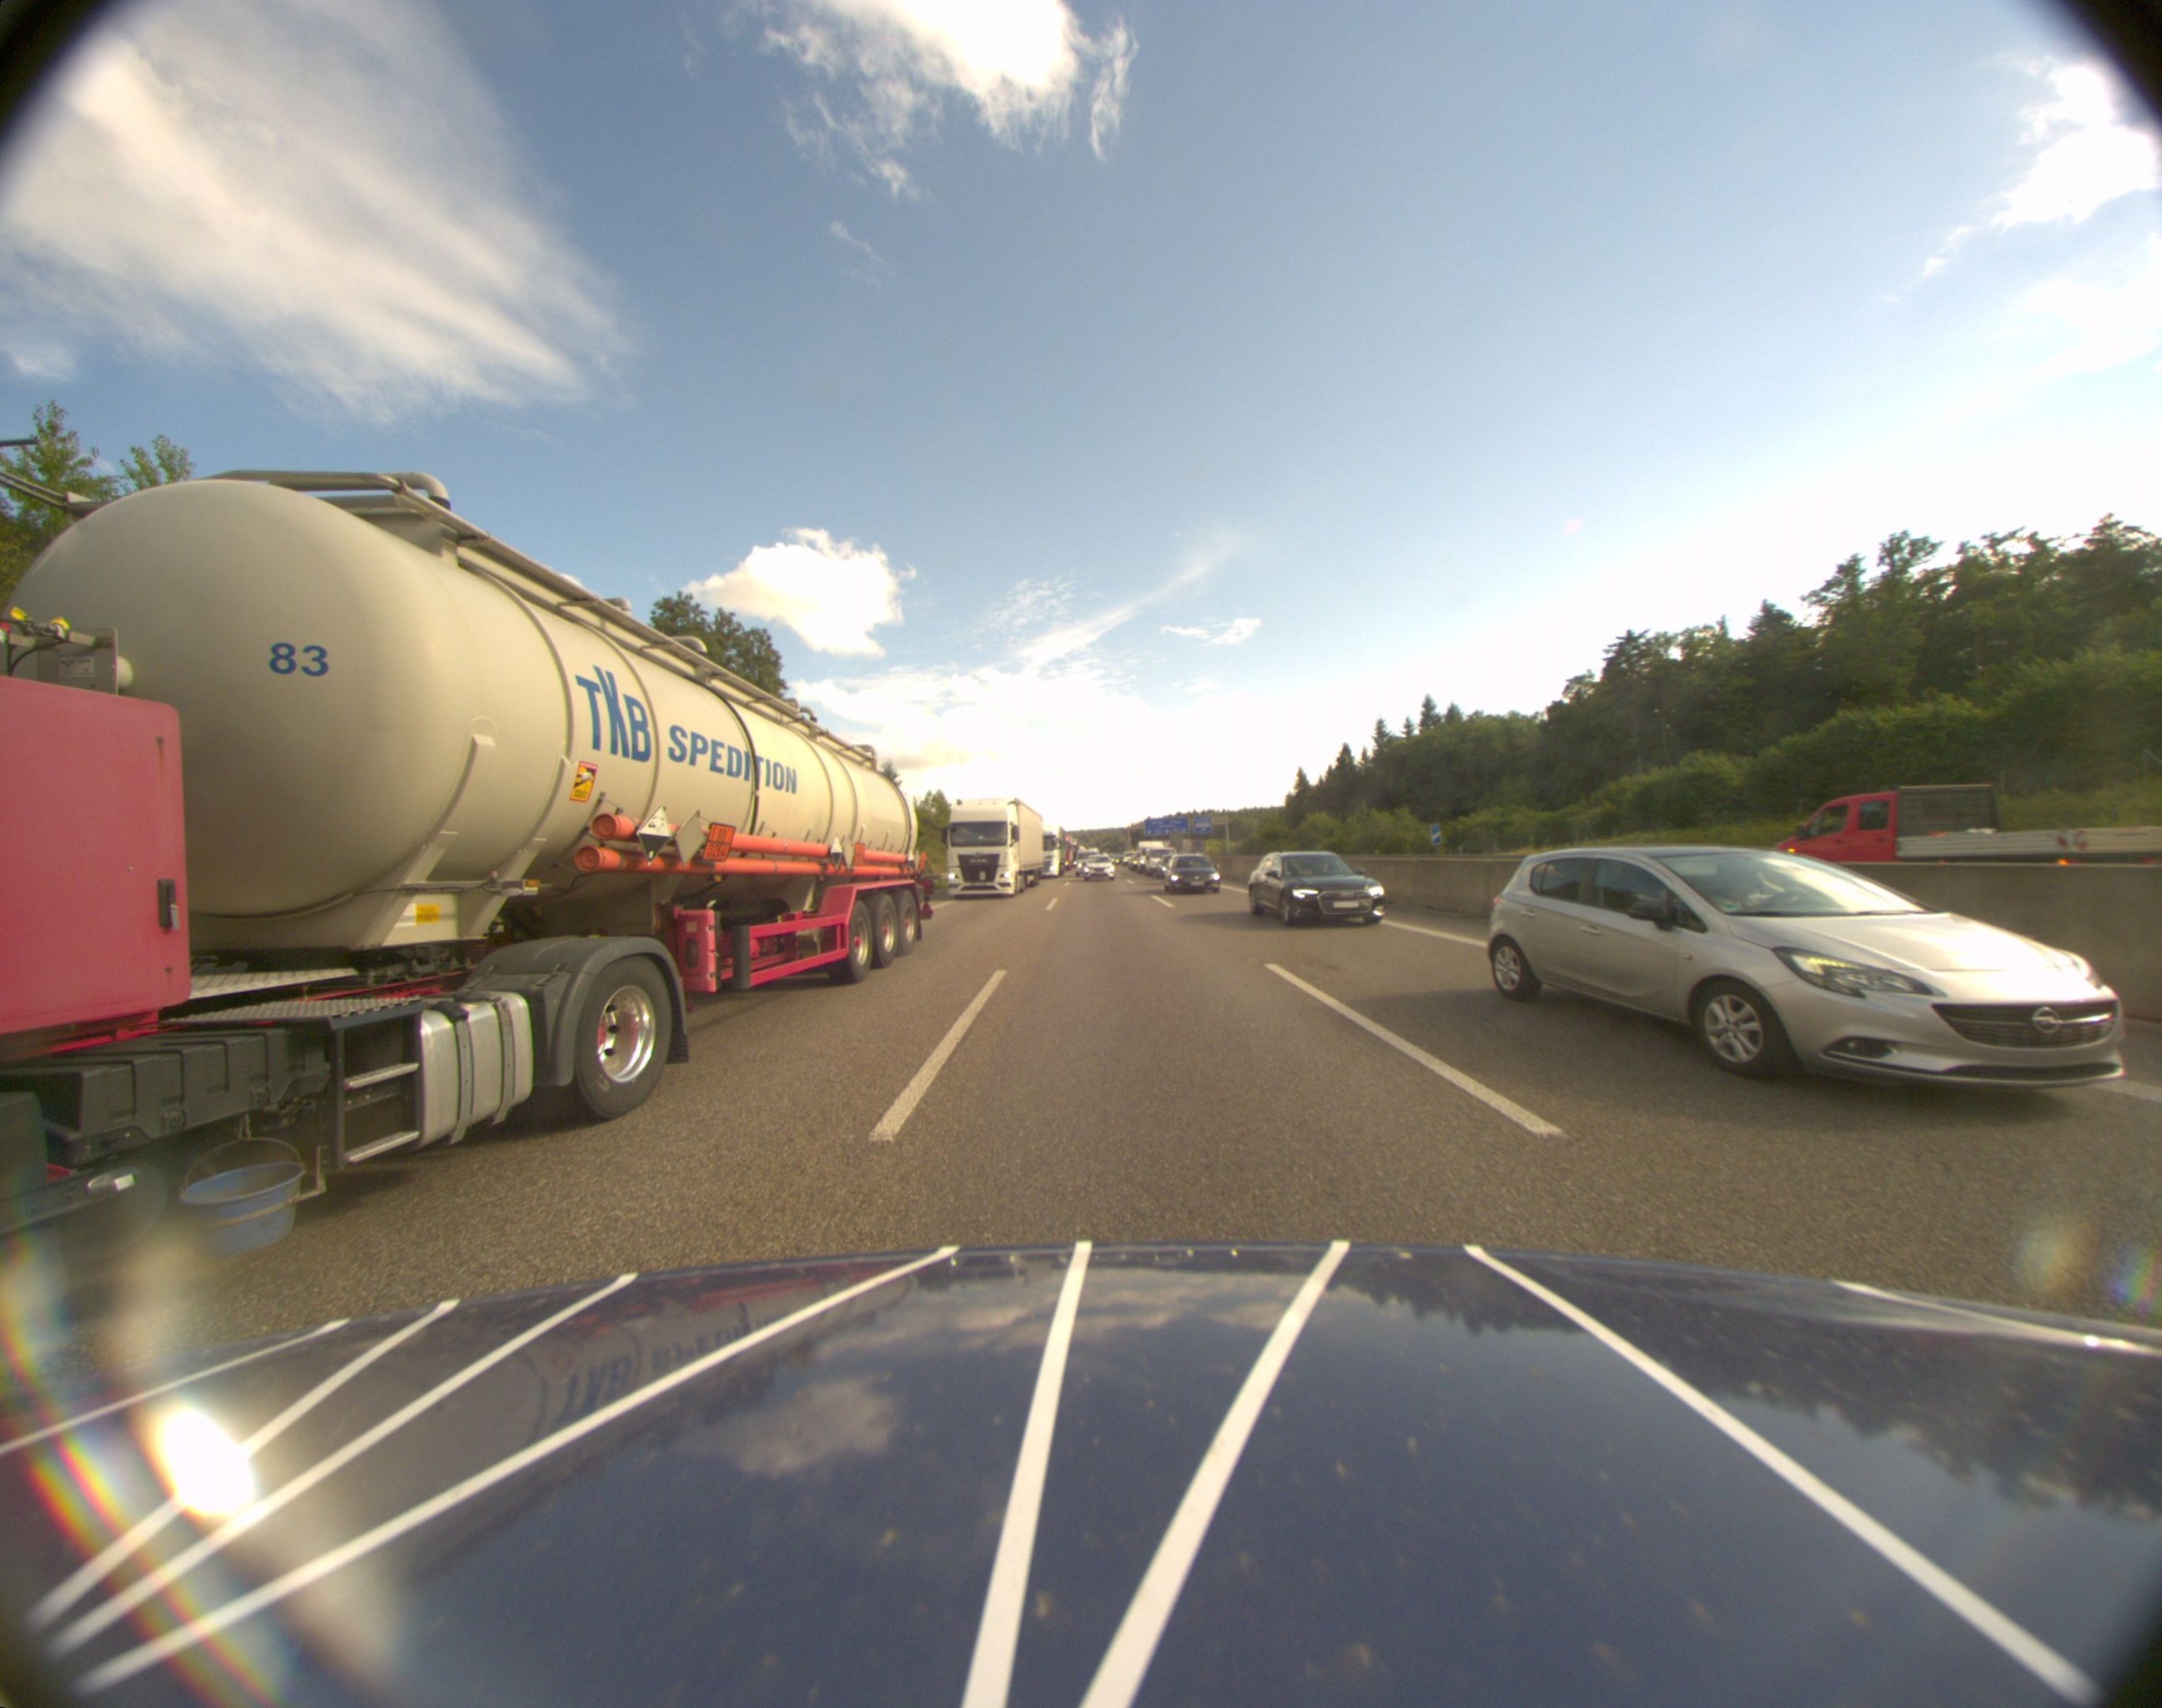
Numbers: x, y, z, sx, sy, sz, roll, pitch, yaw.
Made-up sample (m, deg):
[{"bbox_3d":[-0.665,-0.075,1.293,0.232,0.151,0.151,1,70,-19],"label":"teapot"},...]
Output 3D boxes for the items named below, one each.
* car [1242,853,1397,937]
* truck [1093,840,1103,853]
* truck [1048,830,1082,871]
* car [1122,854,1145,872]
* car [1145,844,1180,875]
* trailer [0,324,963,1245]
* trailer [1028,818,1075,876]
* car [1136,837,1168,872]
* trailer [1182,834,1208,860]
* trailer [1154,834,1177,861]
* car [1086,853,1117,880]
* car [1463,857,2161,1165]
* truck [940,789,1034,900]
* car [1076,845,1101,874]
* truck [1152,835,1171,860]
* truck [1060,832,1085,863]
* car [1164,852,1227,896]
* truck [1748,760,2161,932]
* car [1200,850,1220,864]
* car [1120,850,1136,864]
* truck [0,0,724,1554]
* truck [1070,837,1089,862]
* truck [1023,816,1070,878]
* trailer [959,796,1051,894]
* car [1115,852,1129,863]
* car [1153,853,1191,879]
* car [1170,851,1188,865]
[{"bbox_3d":[4.892,0.750,16.362,1.887,1.463,4.852,-2,0,2],"label":"car"},{"bbox_3d":[5.791,-2.655,253.150,2.840,4.178,12.045,-2,1,3],"label":"truck"},{"bbox_3d":[-1.666,-0.419,85.479,2.840,4.178,12.045,-2,1,3],"label":"truck"},{"bbox_3d":[4.529,0.747,66.100,1.809,1.423,3.660,-2,0,1],"label":"car"},{"bbox_3d":[5.556,0.377,52.240,1.947,1.953,4.848,-2,0,1],"label":"car"},{"bbox_3d":[-3.881,-0.301,8.957,2.805,4.003,11.182,-2,0,2],"label":"trailer"},{"bbox_3d":[-2.227,-0.558,62.784,2.841,4.177,13.613,-2,0,1],"label":"trailer"},{"bbox_3d":[5.564,0.024,60.397,2.054,2.557,5.861,-1,0,1],"label":"car"},{"bbox_3d":[22.058,-1.353,147.965,2.934,4.802,14.651,-2,1,0],"label":"trailer"},{"bbox_3d":[17.086,-1.366,154.657,3.096,5.044,13.832,-2,1,0],"label":"trailer"},{"bbox_3d":[1.244,0.734,47.000,1.809,1.488,4.666,-1,0,1],"label":"car"},{"bbox_3d":[4.770,0.782,5.741,1.751,1.457,4.041,-1,0,1],"label":"car"},{"bbox_3d":[-3.673,-0.357,31.071,2.841,4.048,5.707,-2,1,2],"label":"truck"},{"bbox_3d":[0.593,0.409,58.386,1.809,2.052,4.770,-2,0,1],"label":"car"},{"bbox_3d":[17.098,-1.478,161.070,3.096,5.072,7.140,-2,1,0],"label":"truck"},{"bbox_3d":[-1.140,-0.970,109.783,2.840,4.178,12.045,-2,1,3],"label":"truck"},{"bbox_3d":[4.314,0.710,29.287,1.915,1.469,4.569,-2,0,3],"label":"car"},{"bbox_3d":[18.095,-0.167,15.996,2.429,2.838,6.430,-2,0,0],"label":"truck"},{"bbox_3d":[17.397,0.431,102.856,1.857,1.799,4.624,-2,0,0],"label":"car"},{"bbox_3d":[6.159,0.361,100.082,1.920,1.785,3.811,-2,0,1],"label":"car"},{"bbox_3d":[-4.090,-0.258,2.462,2.809,4.020,5.904,-2,1,2],"label":"truck"},{"bbox_3d":[-0.168,-0.911,138.102,2.840,4.178,12.045,-2,1,3],"label":"truck"},{"bbox_3d":[-2.414,-0.521,55.457,2.841,4.177,5.707,-2,0,1],"label":"truck"},{"bbox_3d":[-3.457,-0.410,38.730,2.833,4.047,13.372,-2,0,2],"label":"trailer"},{"bbox_3d":[6.299,0.567,116.441,1.920,1.535,3.811,-2,0,1],"label":"car"},{"bbox_3d":[5.388,0.675,45.445,1.809,1.423,3.994,-2,0,1],"label":"car"},{"bbox_3d":[13.387,0.583,104.005,1.857,1.799,4.624,-2,0,0],"label":"car"}]
